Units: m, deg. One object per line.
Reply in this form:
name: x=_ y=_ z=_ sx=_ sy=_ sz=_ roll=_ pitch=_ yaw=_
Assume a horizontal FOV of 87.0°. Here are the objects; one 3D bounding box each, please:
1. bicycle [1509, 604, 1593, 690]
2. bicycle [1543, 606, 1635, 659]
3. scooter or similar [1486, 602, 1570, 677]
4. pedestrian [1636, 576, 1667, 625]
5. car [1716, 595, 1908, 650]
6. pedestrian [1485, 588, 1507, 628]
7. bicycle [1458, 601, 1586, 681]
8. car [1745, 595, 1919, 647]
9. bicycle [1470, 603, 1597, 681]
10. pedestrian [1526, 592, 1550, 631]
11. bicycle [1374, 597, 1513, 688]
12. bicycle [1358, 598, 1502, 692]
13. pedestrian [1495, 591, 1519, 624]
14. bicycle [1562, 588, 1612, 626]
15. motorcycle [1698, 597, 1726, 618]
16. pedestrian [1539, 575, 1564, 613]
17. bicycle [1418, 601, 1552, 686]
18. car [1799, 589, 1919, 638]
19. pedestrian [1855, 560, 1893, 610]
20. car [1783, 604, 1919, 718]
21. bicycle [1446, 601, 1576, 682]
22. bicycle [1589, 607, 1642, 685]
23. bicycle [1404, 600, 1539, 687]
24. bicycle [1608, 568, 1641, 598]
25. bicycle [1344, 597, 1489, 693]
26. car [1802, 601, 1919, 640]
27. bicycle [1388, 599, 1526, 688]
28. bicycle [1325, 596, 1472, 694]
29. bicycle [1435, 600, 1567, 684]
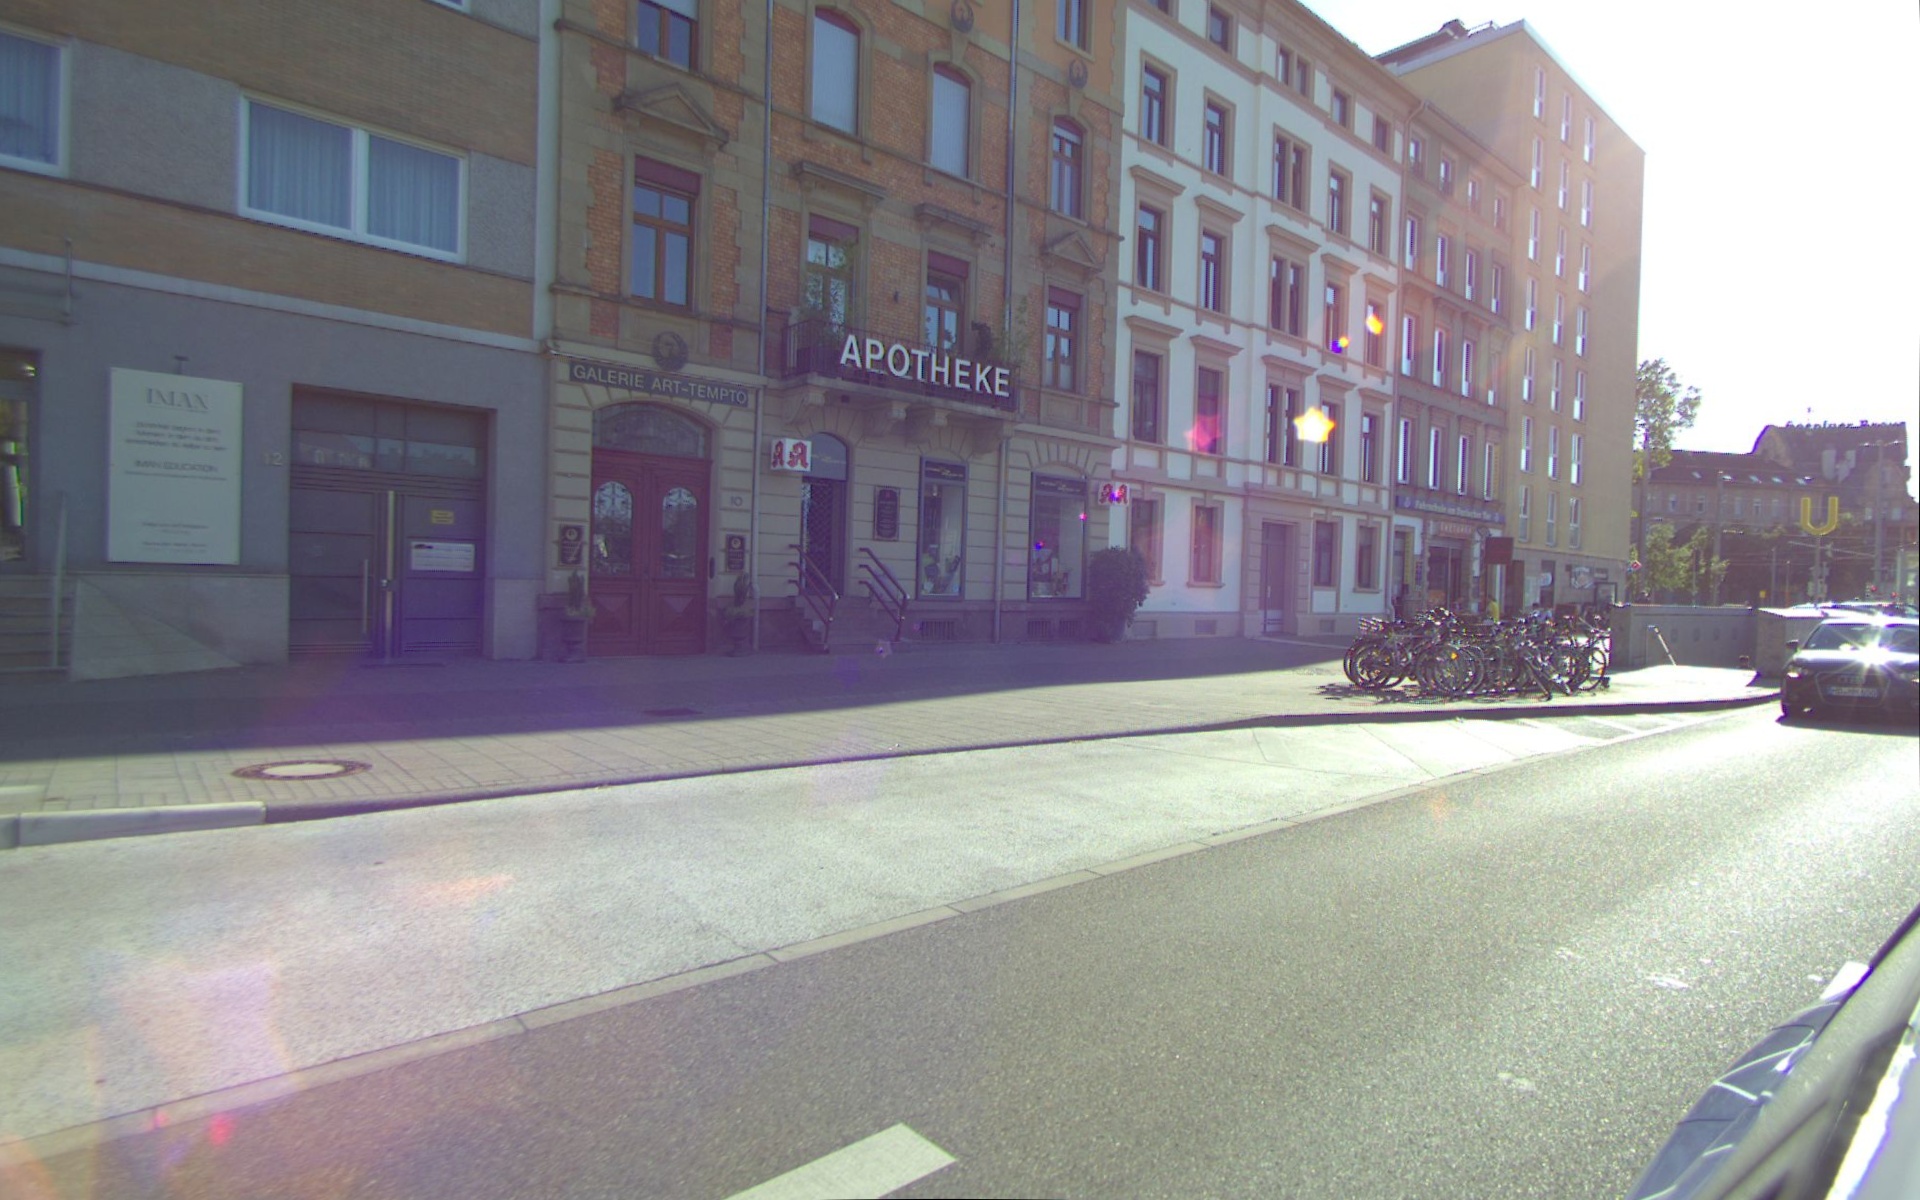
bicycle: x=8.462 y=0.654 z=14.465 sx=1.739 sy=1.161 sz=0.469 roll=2 pitch=0 yaw=-41
bicycle: x=15.085 y=0.771 z=24.301 sx=1.750 sy=1.103 sz=0.467 roll=4 pitch=1 yaw=22
scooter or similar: x=9.903 y=0.668 z=17.686 sx=1.195 sy=1.231 sz=0.637 roll=1 pitch=1 yaw=23
pedestrian: x=27.443 y=0.024 z=40.167 sx=0.744 sy=1.889 sz=0.826 roll=2 pitch=1 yaw=20
car: x=26.211 y=0.663 z=31.266 sx=4.045 sy=1.482 sz=1.957 roll=2 pitch=1 yaw=9
pedestrian: x=18.125 y=0.268 z=34.223 sx=0.515 sy=1.335 sz=0.582 roll=2 pitch=1 yaw=42
bicycle: x=9.180 y=0.642 z=16.601 sx=0.462 sy=1.193 sz=1.768 roll=2 pitch=0 yaw=-40
car: x=28.979 y=0.673 z=33.565 sx=4.177 sy=1.590 sz=1.957 roll=1 pitch=0 yaw=6
bicycle: x=9.554 y=0.667 z=16.921 sx=0.462 sy=1.193 sz=1.768 roll=2 pitch=0 yaw=-40
pedestrian: x=20.435 y=0.410 z=35.779 sx=0.580 sy=1.335 sz=0.517 roll=1 pitch=1 yaw=-33
bicycle: x=6.951 y=0.586 z=14.621 sx=0.462 sy=1.202 sz=1.768 roll=2 pitch=0 yaw=-40
bicycle: x=6.598 y=0.604 z=14.291 sx=0.462 sy=1.202 sz=1.795 roll=2 pitch=0 yaw=-40
pedestrian: x=19.756 y=0.256 z=36.537 sx=0.580 sy=1.174 sz=0.517 roll=1 pitch=1 yaw=-33
bicycle: x=25.320 y=0.276 z=40.853 sx=2.187 sy=1.374 sz=0.933 roll=4 pitch=0 yaw=-37
motorcycle: x=40.929 y=0.401 z=55.086 sx=1.774 sy=1.059 sz=0.879 roll=-1 pitch=4 yaw=-43
pedestrian: x=21.087 y=-0.213 z=36.079 sx=0.580 sy=1.335 sz=0.517 roll=1 pitch=1 yaw=-33
bicycle: x=8.070 y=0.635 z=15.622 sx=0.462 sy=1.202 sz=1.768 roll=2 pitch=0 yaw=-40
car: x=36.333 y=0.526 z=40.178 sx=4.181 sy=1.837 sz=1.955 roll=1 pitch=0 yaw=9
pedestrian: x=35.045 y=-0.590 z=38.811 sx=0.740 sy=1.889 sz=0.696 roll=2 pitch=1 yaw=8
car: x=13.315 y=0.788 z=14.552 sx=3.765 sy=1.405 sz=1.693 roll=0 pitch=1 yaw=-41
bicycle: x=8.818 y=0.637 z=16.270 sx=0.462 sy=1.202 sz=1.768 roll=2 pitch=0 yaw=-40
bicycle: x=10.476 y=0.700 z=16.211 sx=0.465 sy=1.161 sz=1.754 roll=2 pitch=0 yaw=26
bicycle: x=7.688 y=0.626 z=15.284 sx=0.462 sy=1.202 sz=1.768 roll=2 pitch=0 yaw=-40
bicycle: x=29.795 y=-0.759 z=45.386 sx=2.260 sy=1.264 sz=0.658 roll=0 pitch=3 yaw=-43
bicycle: x=6.249 y=0.584 z=13.938 sx=0.462 sy=1.202 sz=1.768 roll=2 pitch=0 yaw=-40
car: x=34.302 y=0.747 z=37.937 sx=3.825 sy=1.417 sz=1.786 roll=0 pitch=0 yaw=6
bicycle: x=7.315 y=0.613 z=14.960 sx=0.462 sy=1.202 sz=1.768 roll=2 pitch=0 yaw=-40
bicycle: x=5.871 y=0.577 z=13.633 sx=0.462 sy=1.202 sz=1.768 roll=2 pitch=0 yaw=-40
bicycle: x=8.470 y=0.629 z=15.921 sx=0.462 sy=1.202 sz=1.768 roll=2 pitch=0 yaw=-40
